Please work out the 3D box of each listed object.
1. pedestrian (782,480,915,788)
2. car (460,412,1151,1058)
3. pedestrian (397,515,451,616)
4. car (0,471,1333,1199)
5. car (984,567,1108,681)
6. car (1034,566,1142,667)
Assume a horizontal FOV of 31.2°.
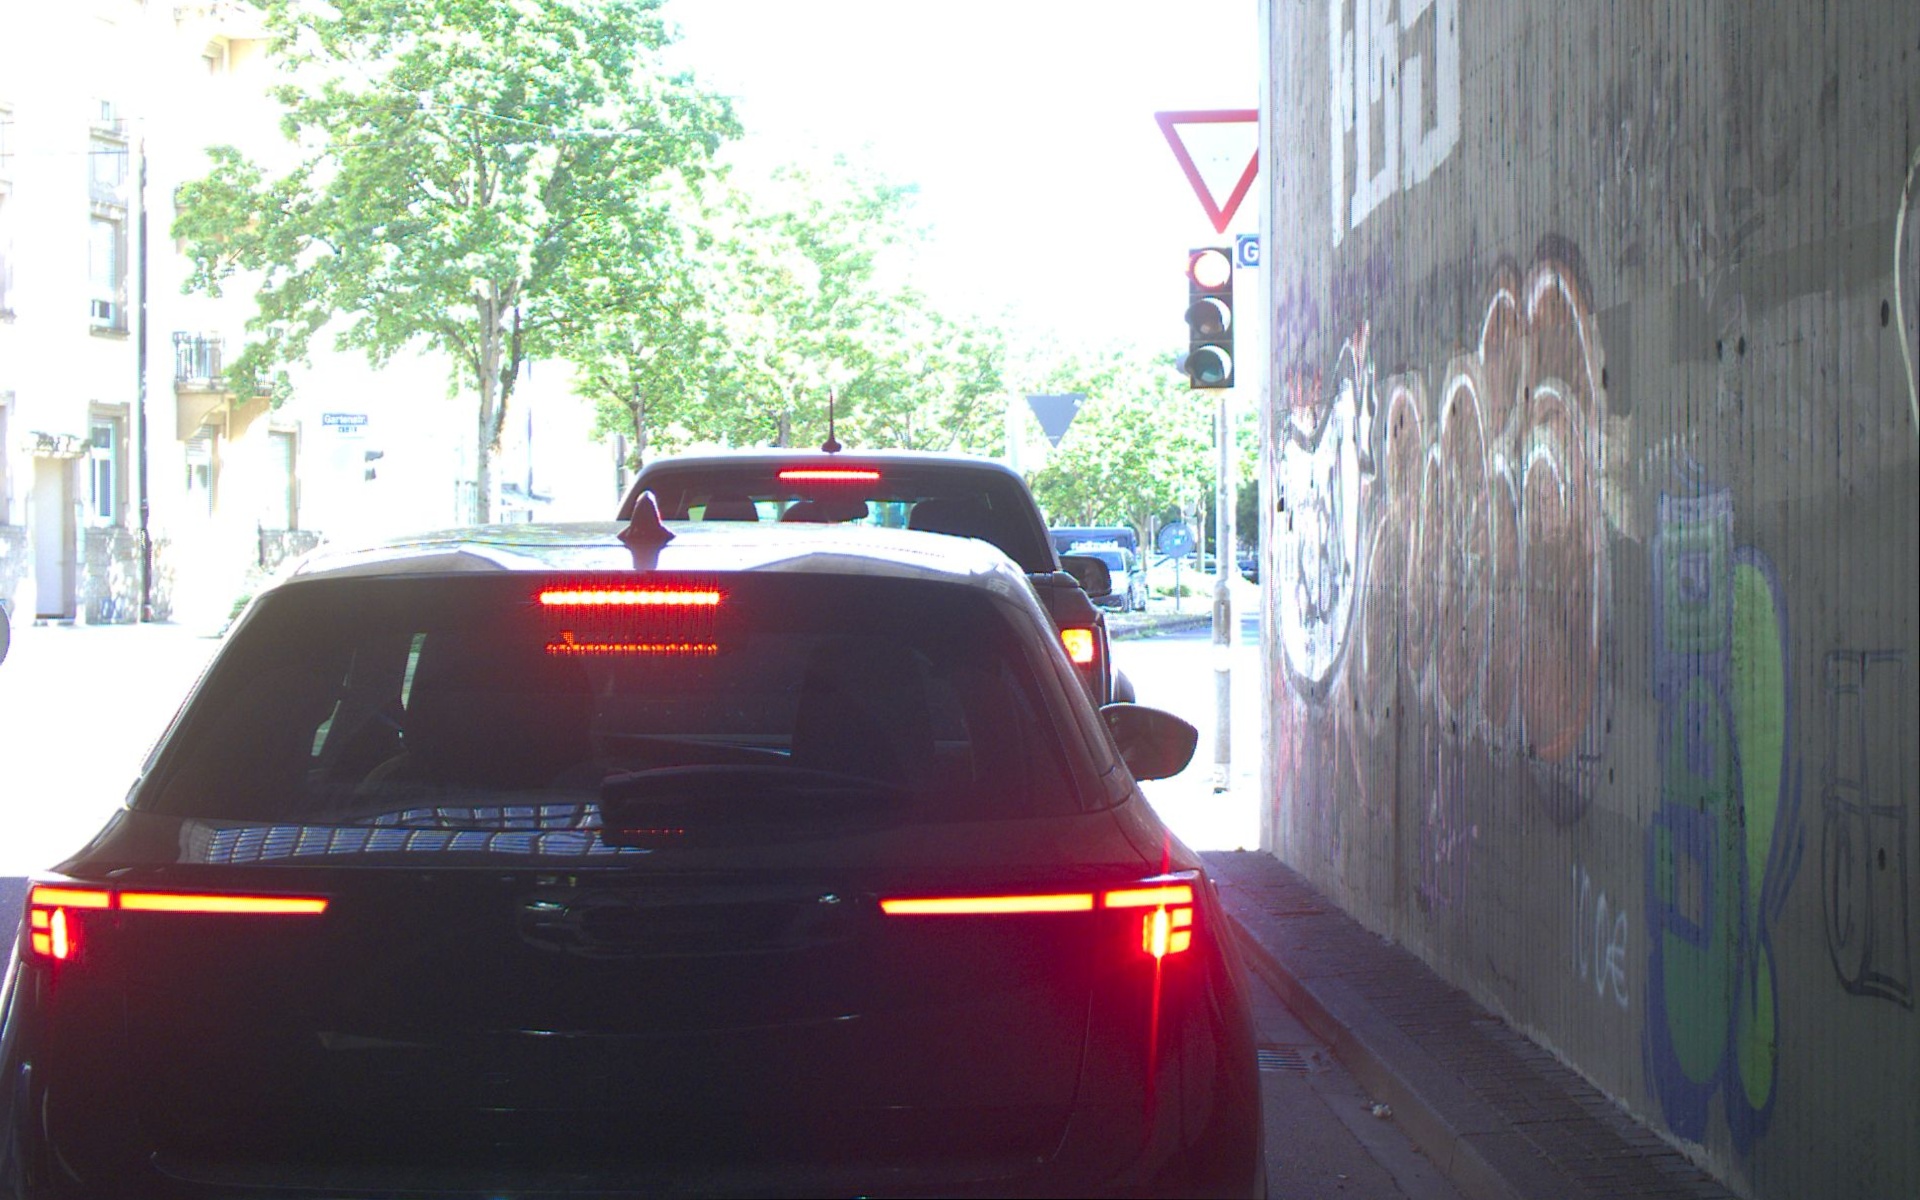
[{"bbox_3d":[-0.636,0.188,19.852,0.731,1.728,0.874,1,0,-1],"label":"pedestrian"},{"bbox_3d":[-0.469,0.355,12.000,1.993,1.865,4.000,0,1,-1],"label":"car"},{"bbox_3d":[-11.233,-0.724,72.062,0.892,2.080,0.808,1,0,7],"label":"pedestrian"},{"bbox_3d":[-0.484,0.571,5.986,1.764,1.566,4.001,1,2,-1],"label":"car"},{"bbox_3d":[1.587,0.406,62.154,1.994,1.963,4.163,1,1,5],"label":"car"},{"bbox_3d":[2.632,0.311,69.993,1.994,1.963,4.163,1,1,5],"label":"car"}]
